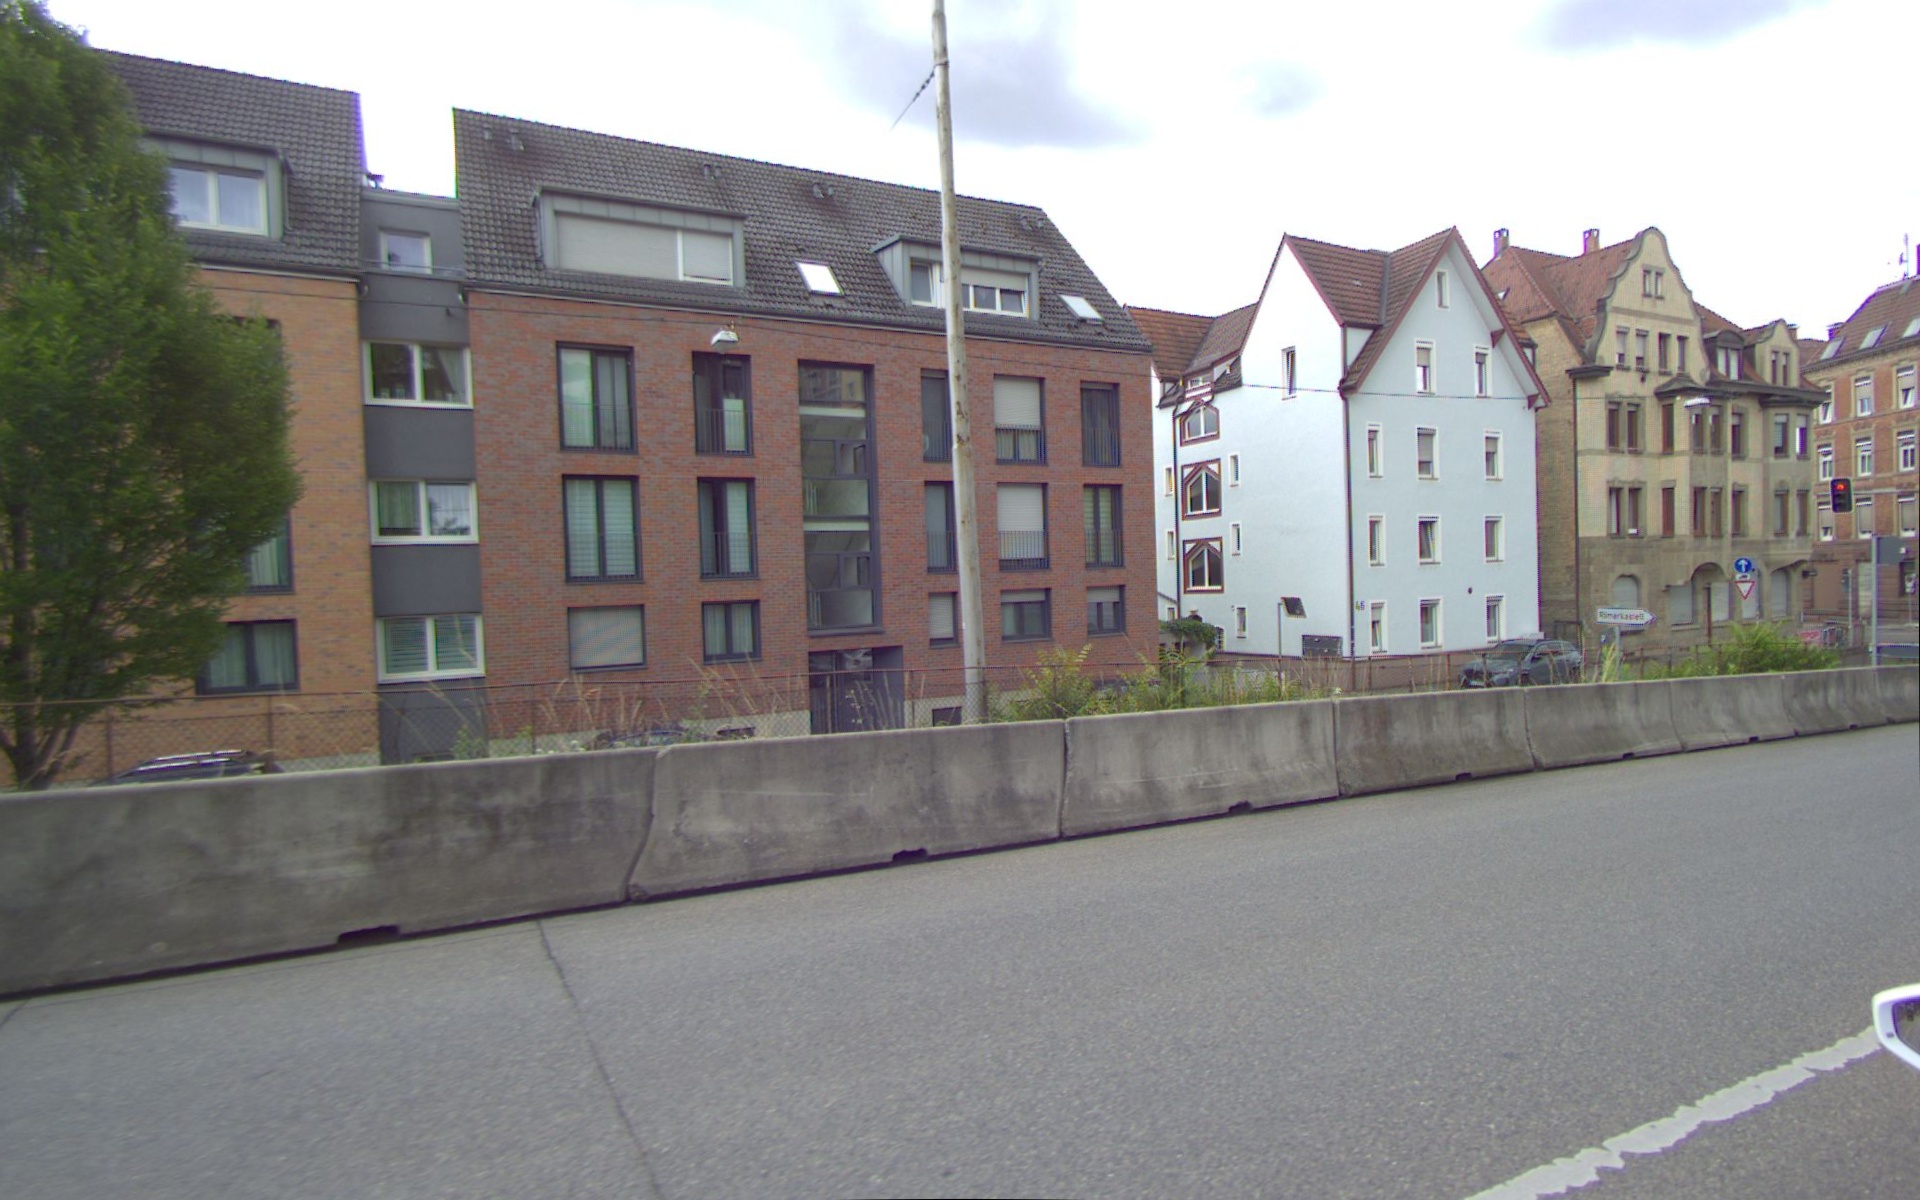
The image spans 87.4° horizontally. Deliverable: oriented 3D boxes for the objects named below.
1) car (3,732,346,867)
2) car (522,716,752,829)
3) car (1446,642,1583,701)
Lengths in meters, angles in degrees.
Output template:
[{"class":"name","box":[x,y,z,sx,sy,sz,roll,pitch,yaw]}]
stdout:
[{"class":"car","box":[-12.110,3.031,15.861,3.948,1.530,1.788,0,-2,-27]},{"class":"car","box":[-6.142,3.192,19.137,3.948,1.629,1.788,0,-2,-27]},{"class":"car","box":[17.178,2.167,31.130,3.948,1.629,1.788,0,-2,-27]}]
